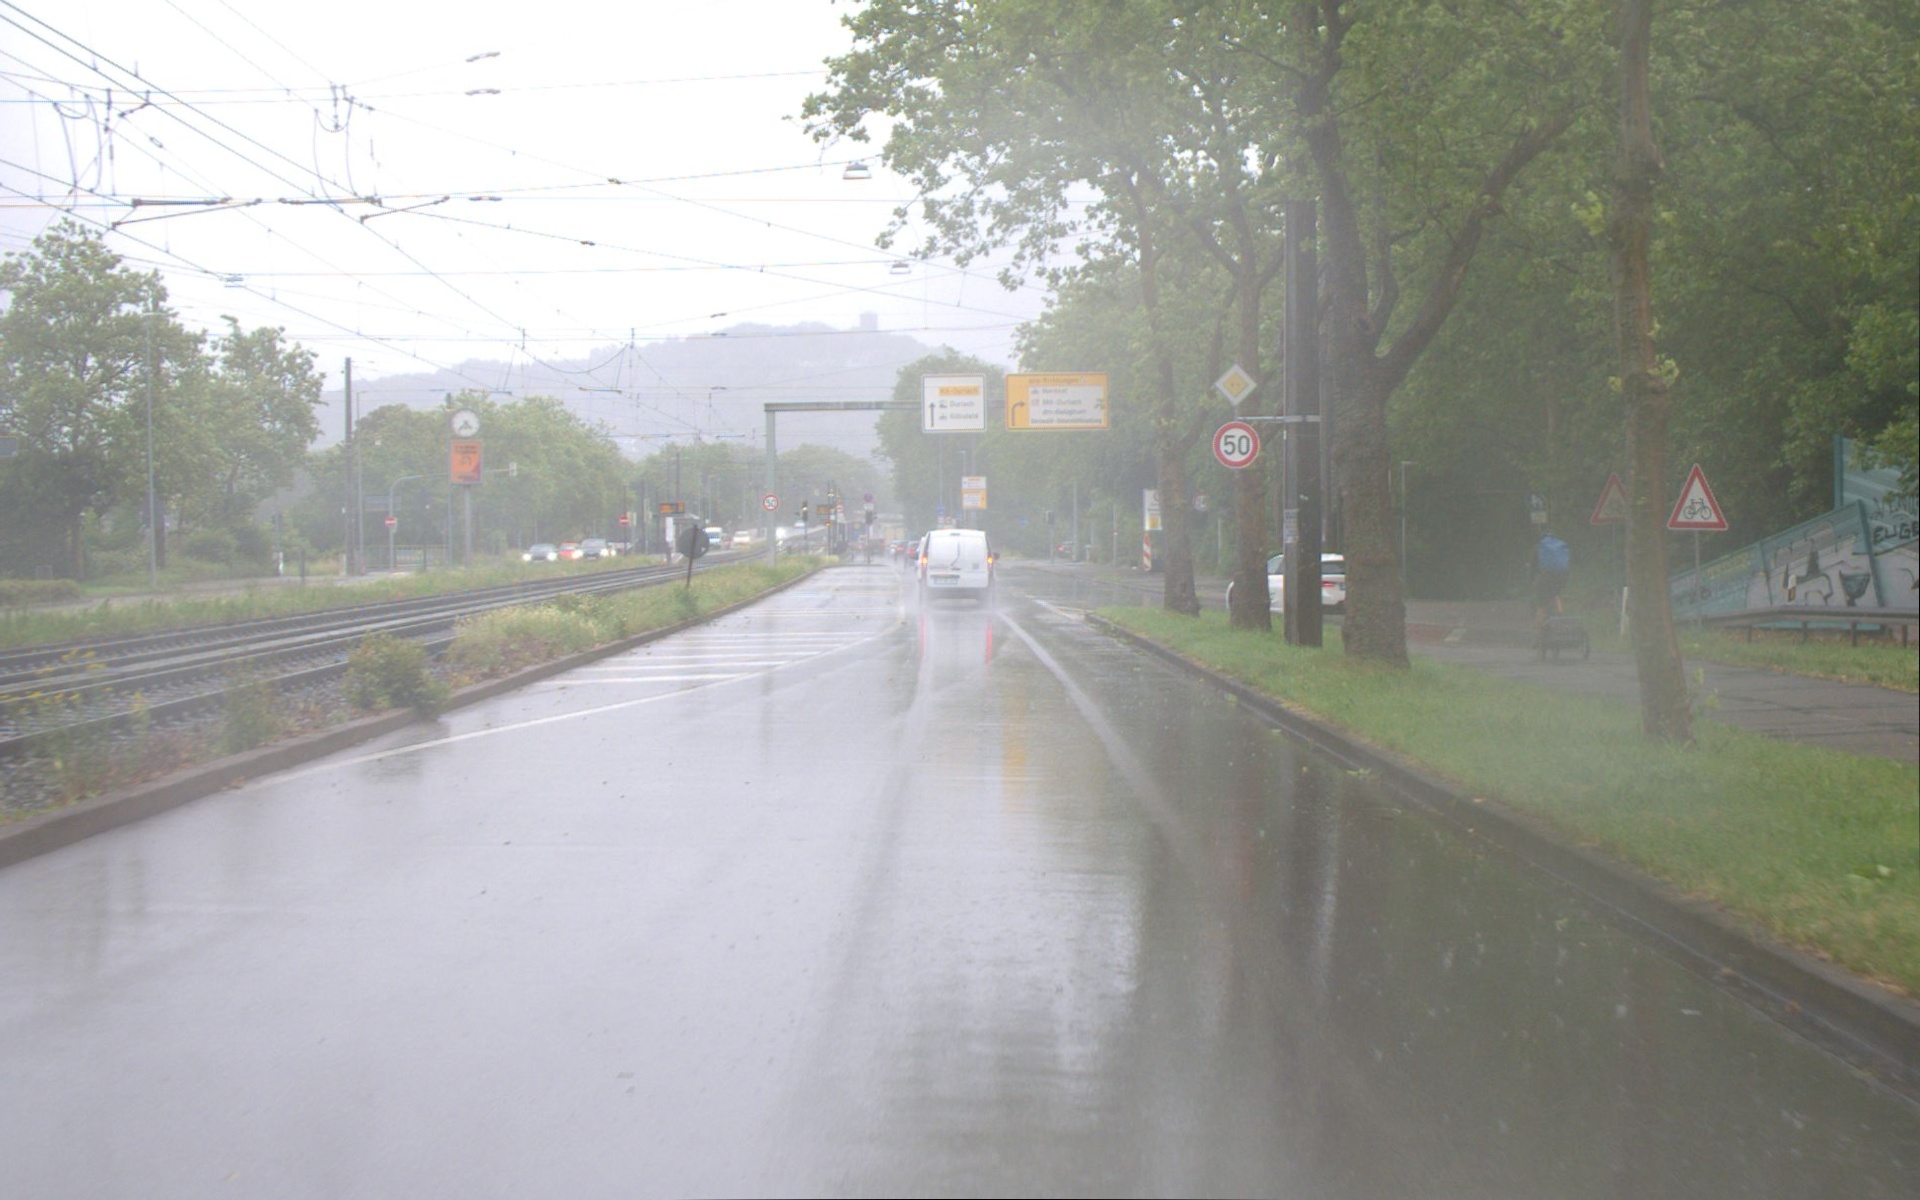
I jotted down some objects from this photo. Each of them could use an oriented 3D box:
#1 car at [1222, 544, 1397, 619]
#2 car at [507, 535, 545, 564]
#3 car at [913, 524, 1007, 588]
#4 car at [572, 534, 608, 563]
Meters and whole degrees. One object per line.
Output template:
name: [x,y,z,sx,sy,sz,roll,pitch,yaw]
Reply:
car: [7.439,-0.418,73.607,1.948,1.531,4.468,0,1,-20]
car: [-25.172,-2.934,199.370,1.943,1.680,4.781,0,1,-4]
car: [-0.021,-1.029,80.215,2.077,1.415,4.000,-1,1,-1]
car: [-21.467,-3.010,199.355,1.943,1.610,4.990,0,1,-5]
